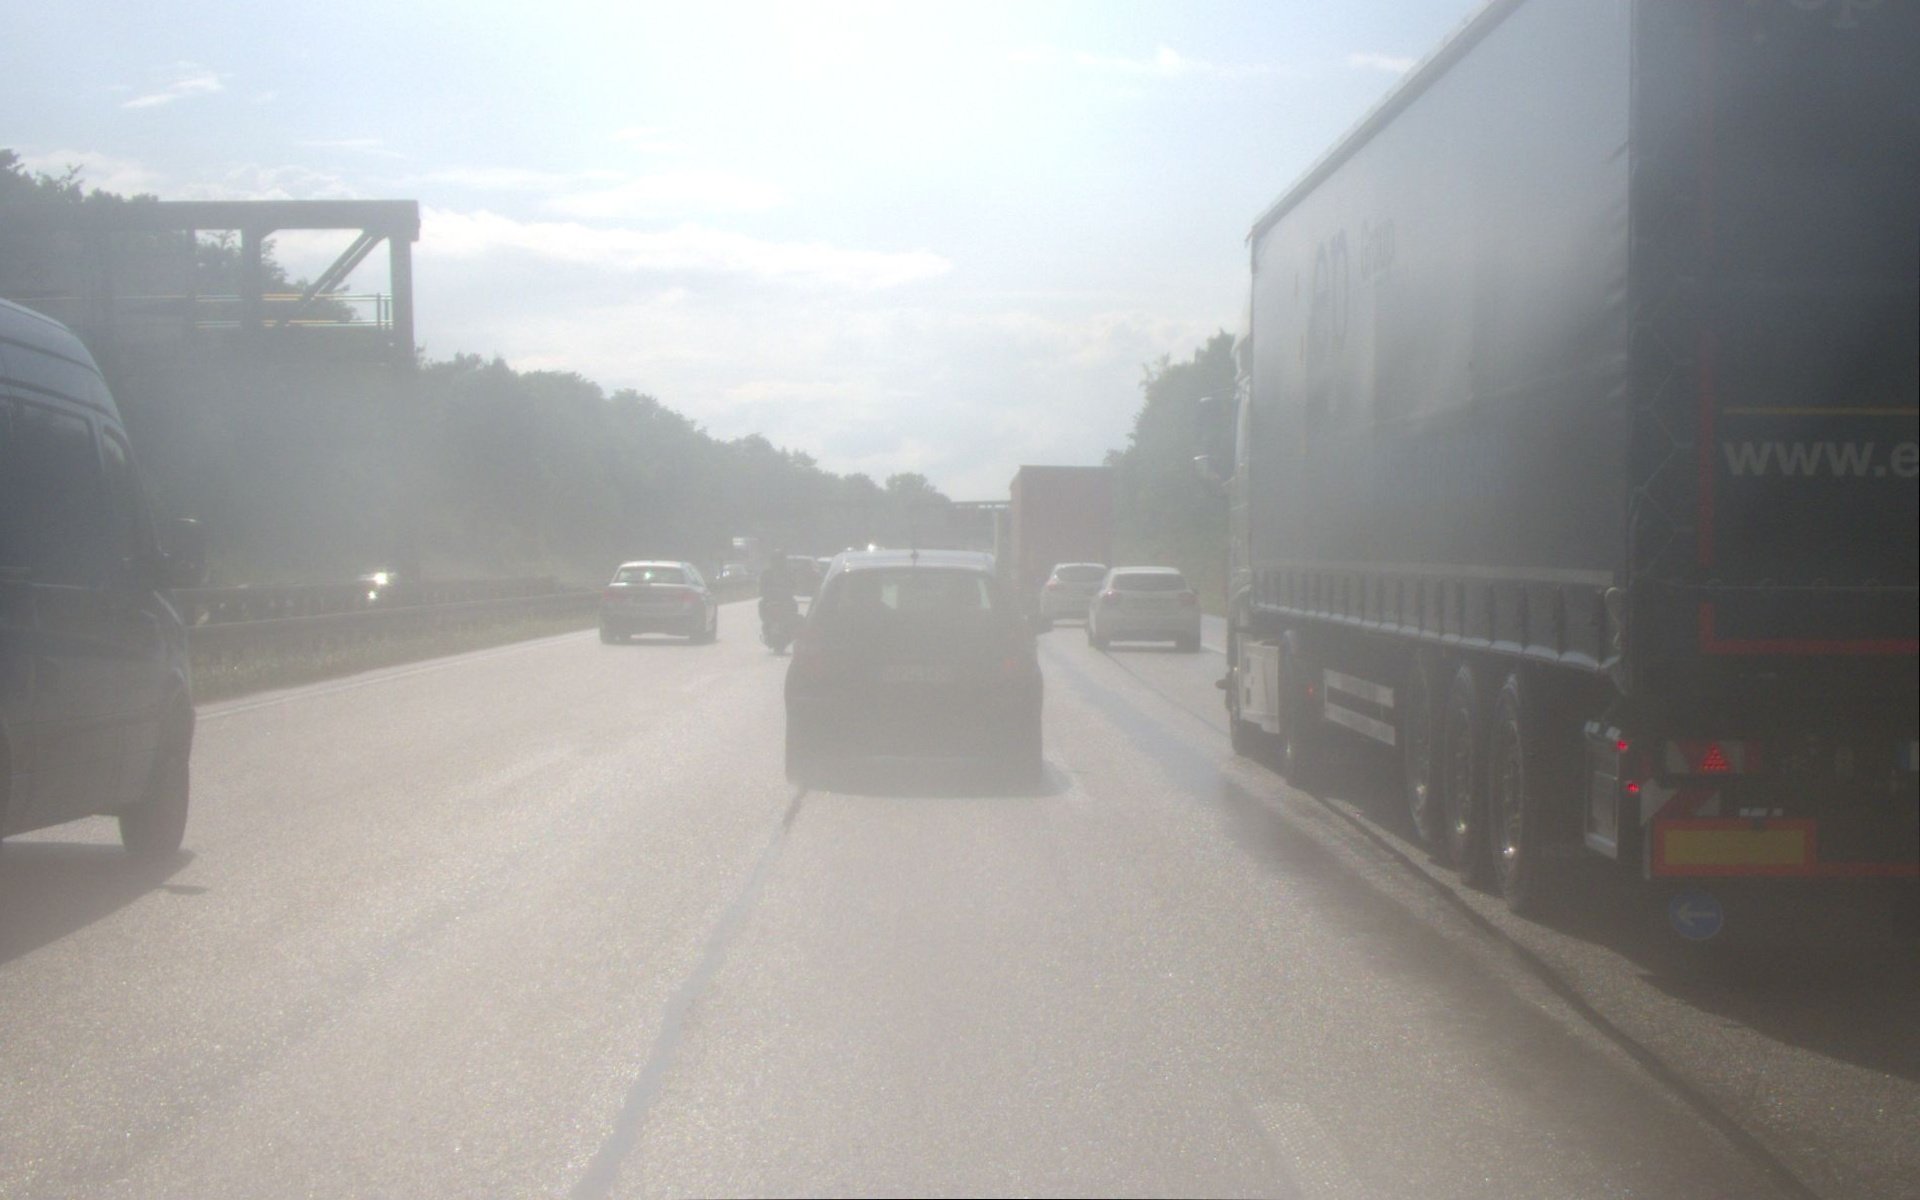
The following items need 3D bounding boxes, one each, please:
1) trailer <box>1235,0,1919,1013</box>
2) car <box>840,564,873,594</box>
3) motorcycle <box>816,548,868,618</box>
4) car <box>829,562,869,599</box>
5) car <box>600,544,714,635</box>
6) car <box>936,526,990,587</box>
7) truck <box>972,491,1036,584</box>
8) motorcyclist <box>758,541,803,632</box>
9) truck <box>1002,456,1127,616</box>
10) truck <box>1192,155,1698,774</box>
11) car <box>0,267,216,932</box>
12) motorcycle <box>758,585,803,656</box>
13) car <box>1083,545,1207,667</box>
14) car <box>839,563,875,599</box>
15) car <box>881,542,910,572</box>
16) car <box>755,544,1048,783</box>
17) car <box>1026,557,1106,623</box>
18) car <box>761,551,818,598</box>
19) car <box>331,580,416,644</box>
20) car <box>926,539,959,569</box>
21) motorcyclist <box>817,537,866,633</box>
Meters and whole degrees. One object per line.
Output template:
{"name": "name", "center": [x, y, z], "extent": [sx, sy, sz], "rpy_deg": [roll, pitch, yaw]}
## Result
{"name": "trailer", "center": [3.671, -0.835, 18.625], "extent": [3.088, 4.298, 14.105], "rpy_deg": [0, 1, 0]}
{"name": "car", "center": [-5.303, -1.092, 176.973], "extent": [1.675, 1.485, 3.437], "rpy_deg": [0, 1, -1]}
{"name": "motorcycle", "center": [-2.189, -0.319, 63.504], "extent": [0.819, 1.258, 2.118], "rpy_deg": [1, 1, -5]}
{"name": "car", "center": [-4.870, -0.882, 151.185], "extent": [1.675, 1.591, 3.437], "rpy_deg": [0, 1, -1]}
{"name": "car", "center": [-5.460, -0.209, 62.359], "extent": [1.758, 1.589, 4.331], "rpy_deg": [0, 1, -1]}
{"name": "car", "center": [0.084, -1.421, 112.758], "extent": [1.675, 1.929, 3.773], "rpy_deg": [0, 1, -1]}
{"name": "truck", "center": [2.241, -3.178, 179.737], "extent": [2.882, 4.671, 12.659], "rpy_deg": [1, 0, -1]}
{"name": "motorcyclist", "center": [-2.869, -0.217, 54.944], "extent": [0.670, 1.437, 1.020], "rpy_deg": [1, 0, -5]}
{"name": "truck", "center": [2.946, -1.804, 99.518], "extent": [3.202, 4.389, 9.432], "rpy_deg": [1, 1, 0]}
{"name": "truck", "center": [3.607, -0.969, 27.090], "extent": [3.052, 4.310, 5.886], "rpy_deg": [1, 0, 0]}
{"name": "car", "center": [-4.850, -0.023, 15.086], "extent": [2.015, 2.639, 5.777], "rpy_deg": [0, 1, -1]}
{"name": "motorcycle", "center": [-2.876, 0.318, 55.006], "extent": [0.676, 1.083, 1.982], "rpy_deg": [1, 1, -4]}
{"name": "car", "center": [3.150, 0.095, 59.271], "extent": [1.849, 2.007, 4.087], "rpy_deg": [1, 0, 0]}
{"name": "car", "center": [-5.900, -1.080, 196.824], "extent": [1.993, 2.007, 4.000], "rpy_deg": [1, 0, -1]}
{"name": "car", "center": [-4.481, -3.002, 240.055], "extent": [1.993, 2.007, 4.000], "rpy_deg": [1, 0, -1]}
{"name": "car", "center": [-0.433, 0.395, 24.820], "extent": [1.915, 1.560, 4.314], "rpy_deg": [0, 1, -1]}
{"name": "car", "center": [2.440, -0.241, 79.642], "extent": [1.675, 1.485, 3.437], "rpy_deg": [0, 1, -1]}
{"name": "car", "center": [-6.020, -0.897, 121.824], "extent": [1.893, 1.622, 4.195], "rpy_deg": [0, 1, -1]}
{"name": "car", "center": [-18.918, 0.370, 110.991], "extent": [1.993, 2.007, 4.733], "rpy_deg": [1, 0, -1]}
{"name": "car", "center": [-0.905, -2.340, 174.980], "extent": [1.631, 1.485, 3.437], "rpy_deg": [0, 1, -1]}
{"name": "motorcyclist", "center": [-2.189, -0.278, 63.480], "extent": [0.821, 1.755, 1.390], "rpy_deg": [1, 0, -5]}
